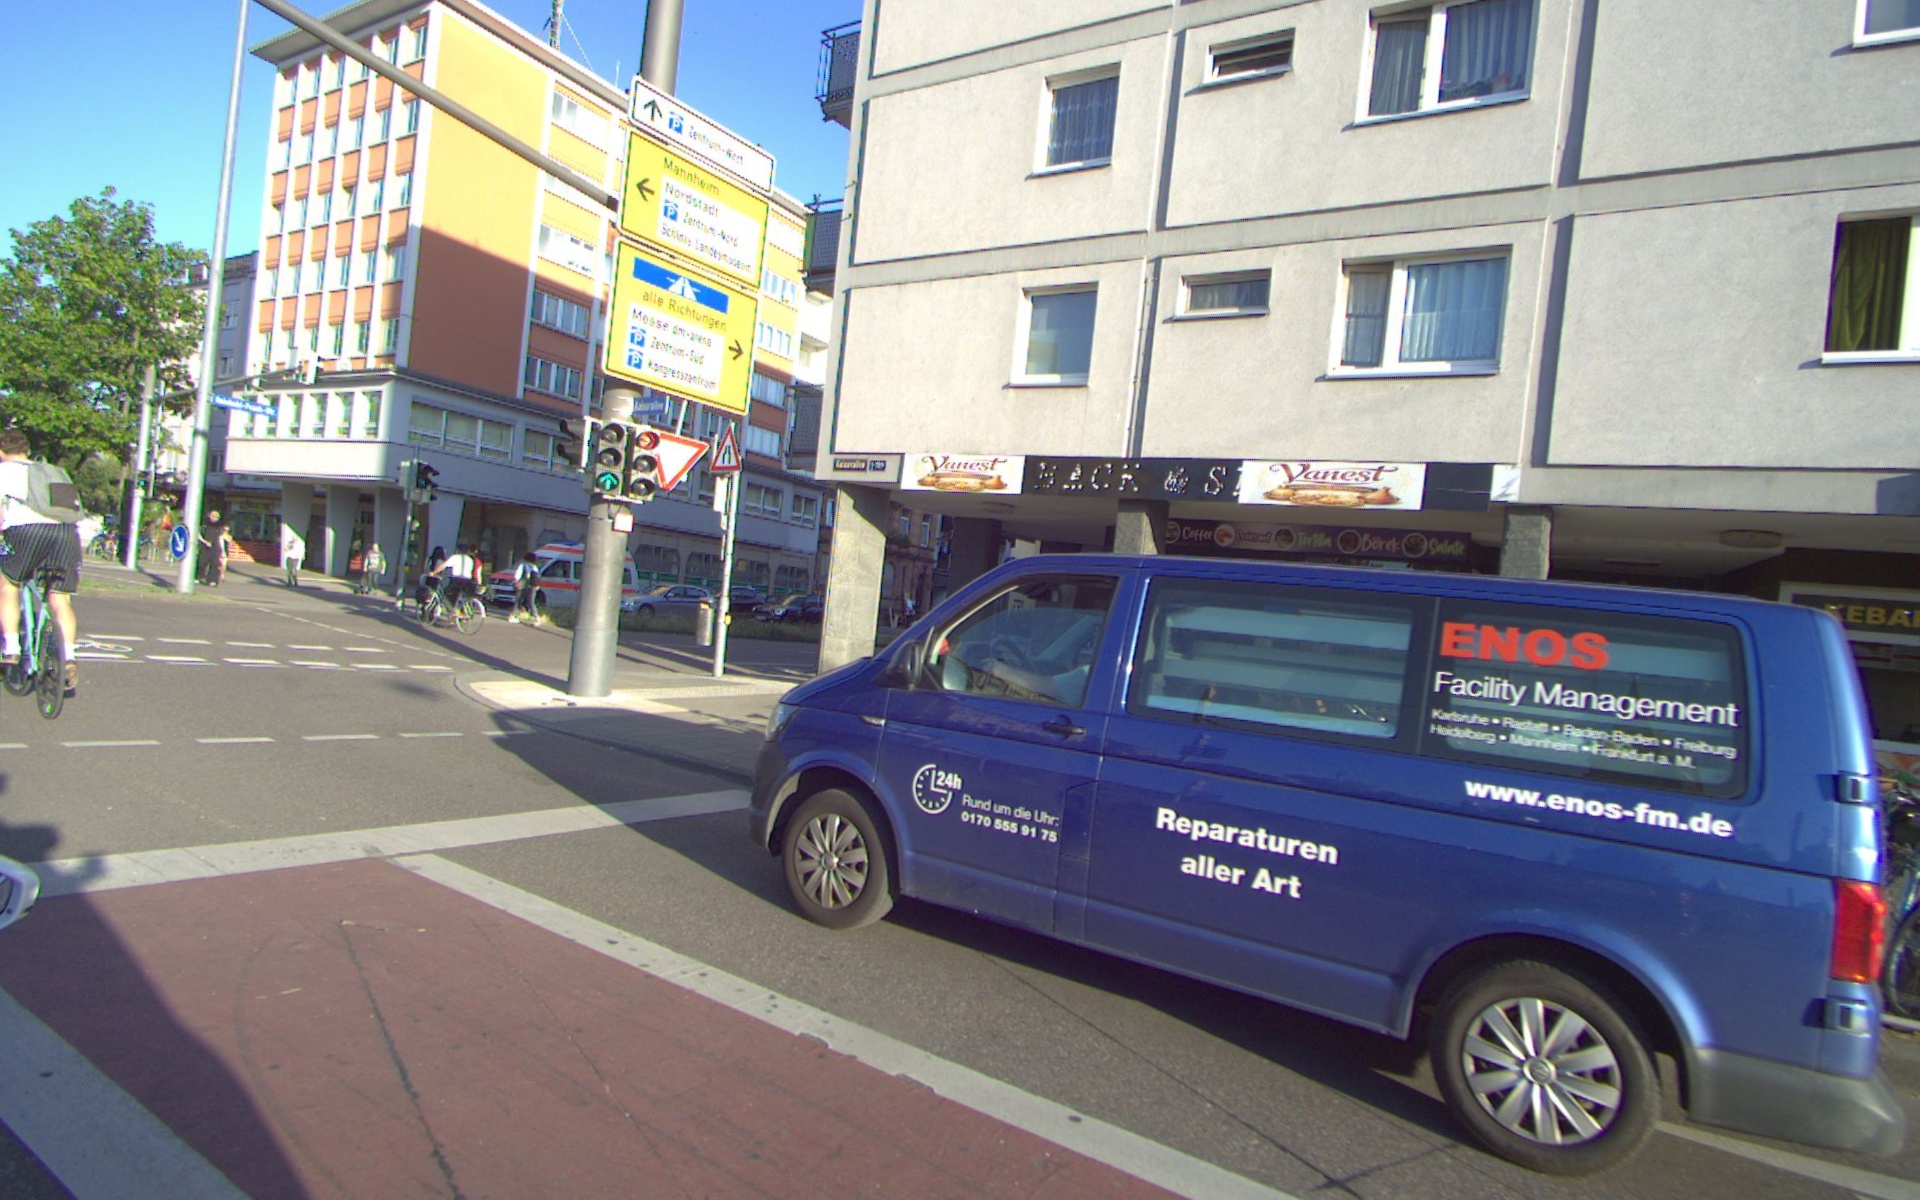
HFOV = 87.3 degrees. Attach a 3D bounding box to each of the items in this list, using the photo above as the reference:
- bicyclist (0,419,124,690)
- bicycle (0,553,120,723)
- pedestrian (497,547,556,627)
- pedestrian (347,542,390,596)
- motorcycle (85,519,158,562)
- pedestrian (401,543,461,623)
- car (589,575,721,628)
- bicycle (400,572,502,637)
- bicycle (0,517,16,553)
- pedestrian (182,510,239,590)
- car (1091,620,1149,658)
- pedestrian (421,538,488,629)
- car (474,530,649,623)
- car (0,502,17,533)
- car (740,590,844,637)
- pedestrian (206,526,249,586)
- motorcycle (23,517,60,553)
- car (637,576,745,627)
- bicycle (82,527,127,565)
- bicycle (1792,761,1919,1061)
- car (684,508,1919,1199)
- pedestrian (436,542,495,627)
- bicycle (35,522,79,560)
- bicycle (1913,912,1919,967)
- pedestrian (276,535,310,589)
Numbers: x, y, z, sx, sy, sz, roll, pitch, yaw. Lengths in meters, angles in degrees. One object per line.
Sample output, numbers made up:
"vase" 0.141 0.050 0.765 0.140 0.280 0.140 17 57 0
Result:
"bicyclist" -6.780 -0.323 7.347 0.978 1.830 0.674 6 0 35
"bicycle" -6.789 0.229 7.306 1.828 1.040 0.575 6 0 37
"pedestrian" -9.897 -0.292 22.961 0.891 1.682 0.728 7 1 33
"pedestrian" -20.190 -1.059 34.341 1.010 1.722 0.783 7 0 33
"motorcycle" -33.275 -2.352 39.941 0.749 1.423 2.042 7 -1 39
"pedestrian" -10.785 -0.336 20.515 0.734 1.518 0.682 7 1 33
"car" -10.167 0.084 33.820 1.777 1.393 3.992 5 -1 32
"bicycle" -9.558 0.082 18.889 1.815 0.993 0.522 7 0 20
"bicycle" -33.077 -2.282 34.417 1.844 1.141 0.645 7 1 34
"pedestrian" -17.518 -1.167 23.499 1.055 1.725 0.661 7 1 37
"car" 12.842 3.153 80.514 2.090 2.554 6.418 7 -1 31
"pedestrian" -9.466 -0.304 18.855 0.747 1.609 0.677 5 -1 19
"car" -13.401 -0.719 34.233 1.894 2.512 5.257 6 -1 32
"car" -49.858 -4.287 51.446 1.716 1.491 3.863 4 1 -35
"car" -6.678 0.562 40.379 1.759 1.482 3.991 6 -1 33
"pedestrian" -20.762 -1.244 28.527 0.735 1.609 0.681 7 1 37
"motorcycle" -35.928 -2.553 39.345 2.168 1.257 0.665 6 0 39
"car" -10.579 0.086 39.812 1.570 1.590 4.078 7 -1 31
"bicycle" -31.510 -1.990 37.032 2.090 1.172 0.645 7 1 34
"bicycle" 5.007 1.557 5.241 0.558 1.141 1.869 6 2 28
"car" 1.176 0.781 4.780 4.752 1.957 1.939 6 0 32
"pedestrian" -10.446 -0.321 21.255 0.734 1.682 0.682 7 1 33
"bicycle" -32.223 -2.120 35.890 1.844 1.141 0.645 7 1 34
"bicycle" 5.498 1.578 4.969 0.558 1.141 1.869 6 2 28
"pedestrian" -22.300 -1.271 33.633 0.799 1.722 0.569 7 1 33
